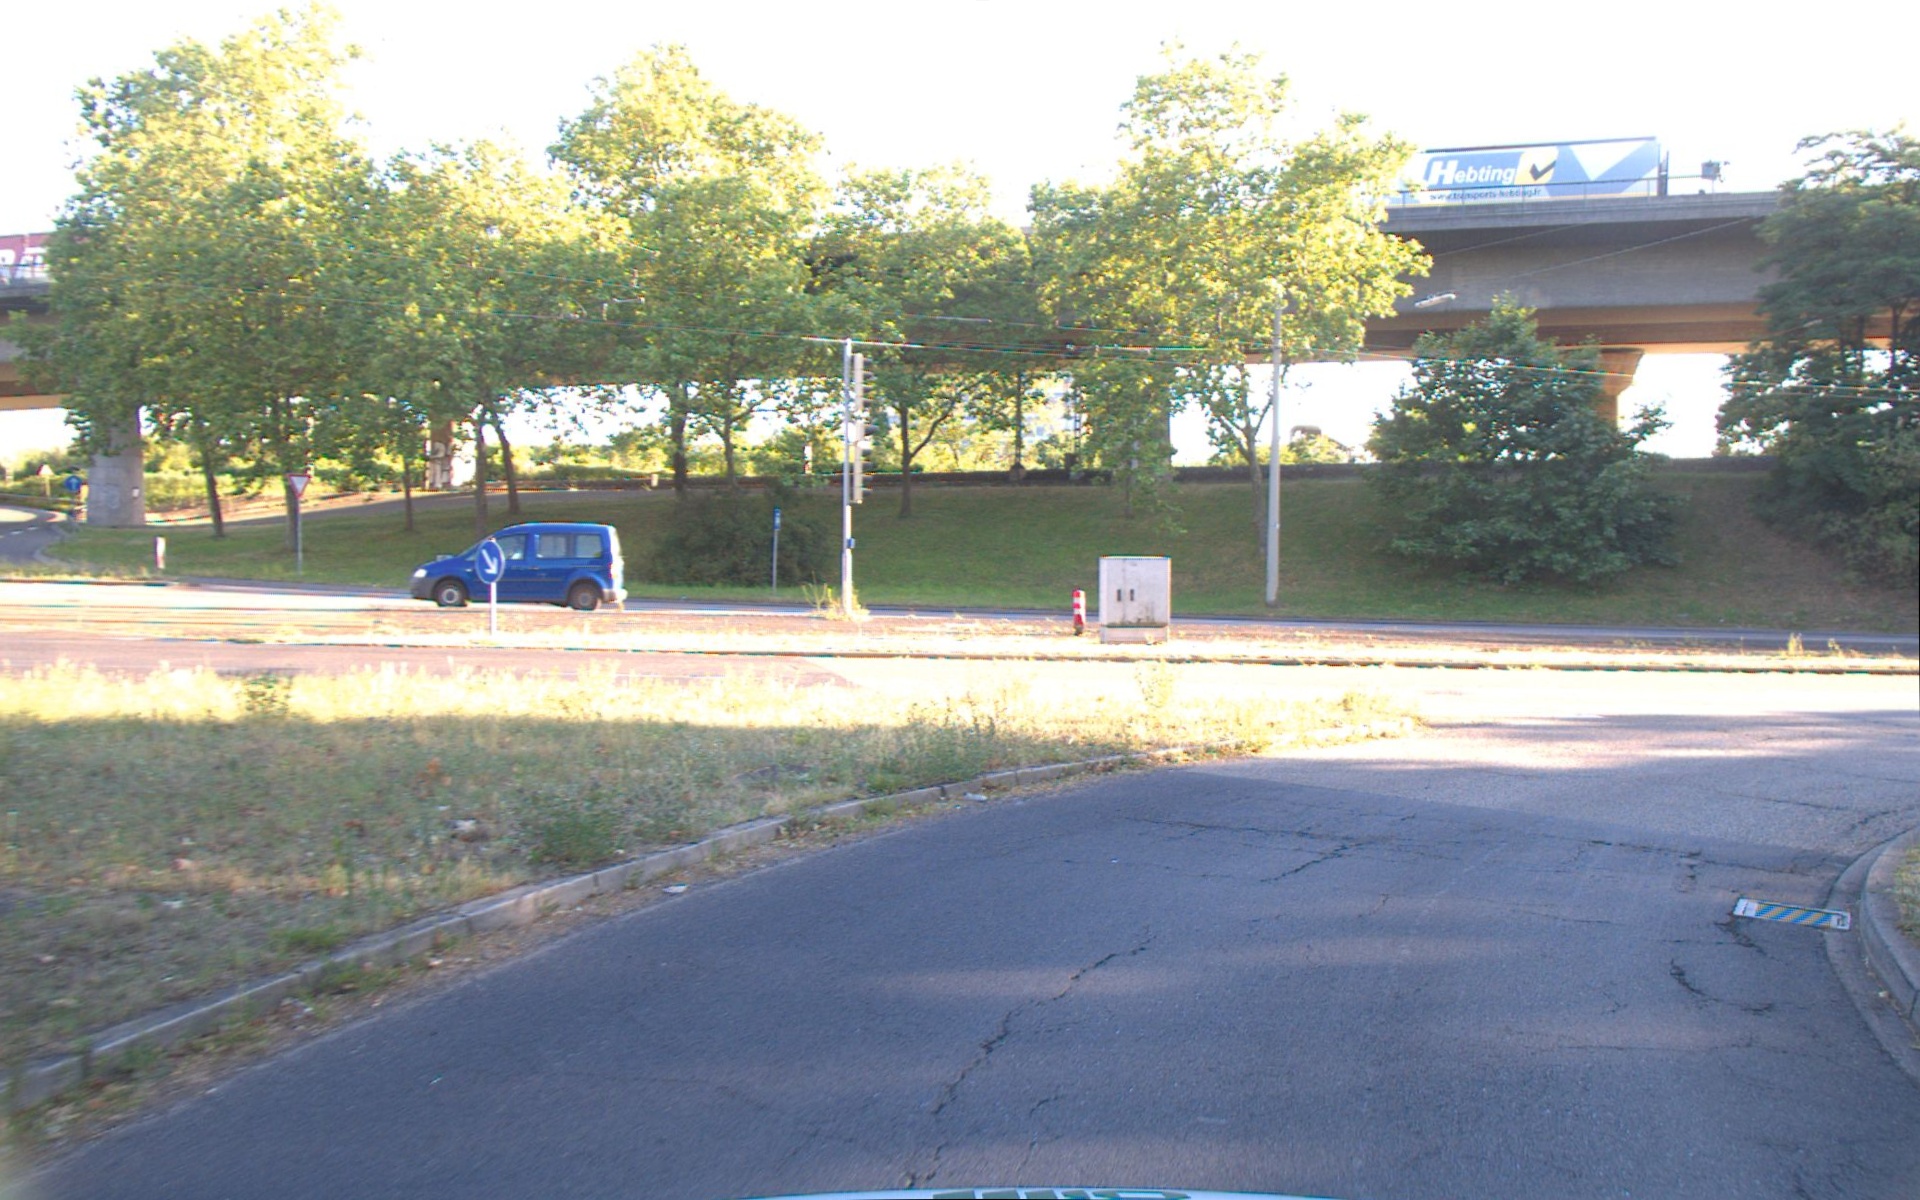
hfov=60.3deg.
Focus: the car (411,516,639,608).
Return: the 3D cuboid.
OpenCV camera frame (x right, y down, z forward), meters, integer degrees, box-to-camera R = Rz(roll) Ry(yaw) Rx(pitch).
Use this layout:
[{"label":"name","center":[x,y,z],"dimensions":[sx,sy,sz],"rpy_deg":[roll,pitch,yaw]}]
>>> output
[{"label":"car","center":[-8.968,-0.772,34.399],"dimensions":[4.426,1.722,1.994],"rpy_deg":[2,1,-13]}]
